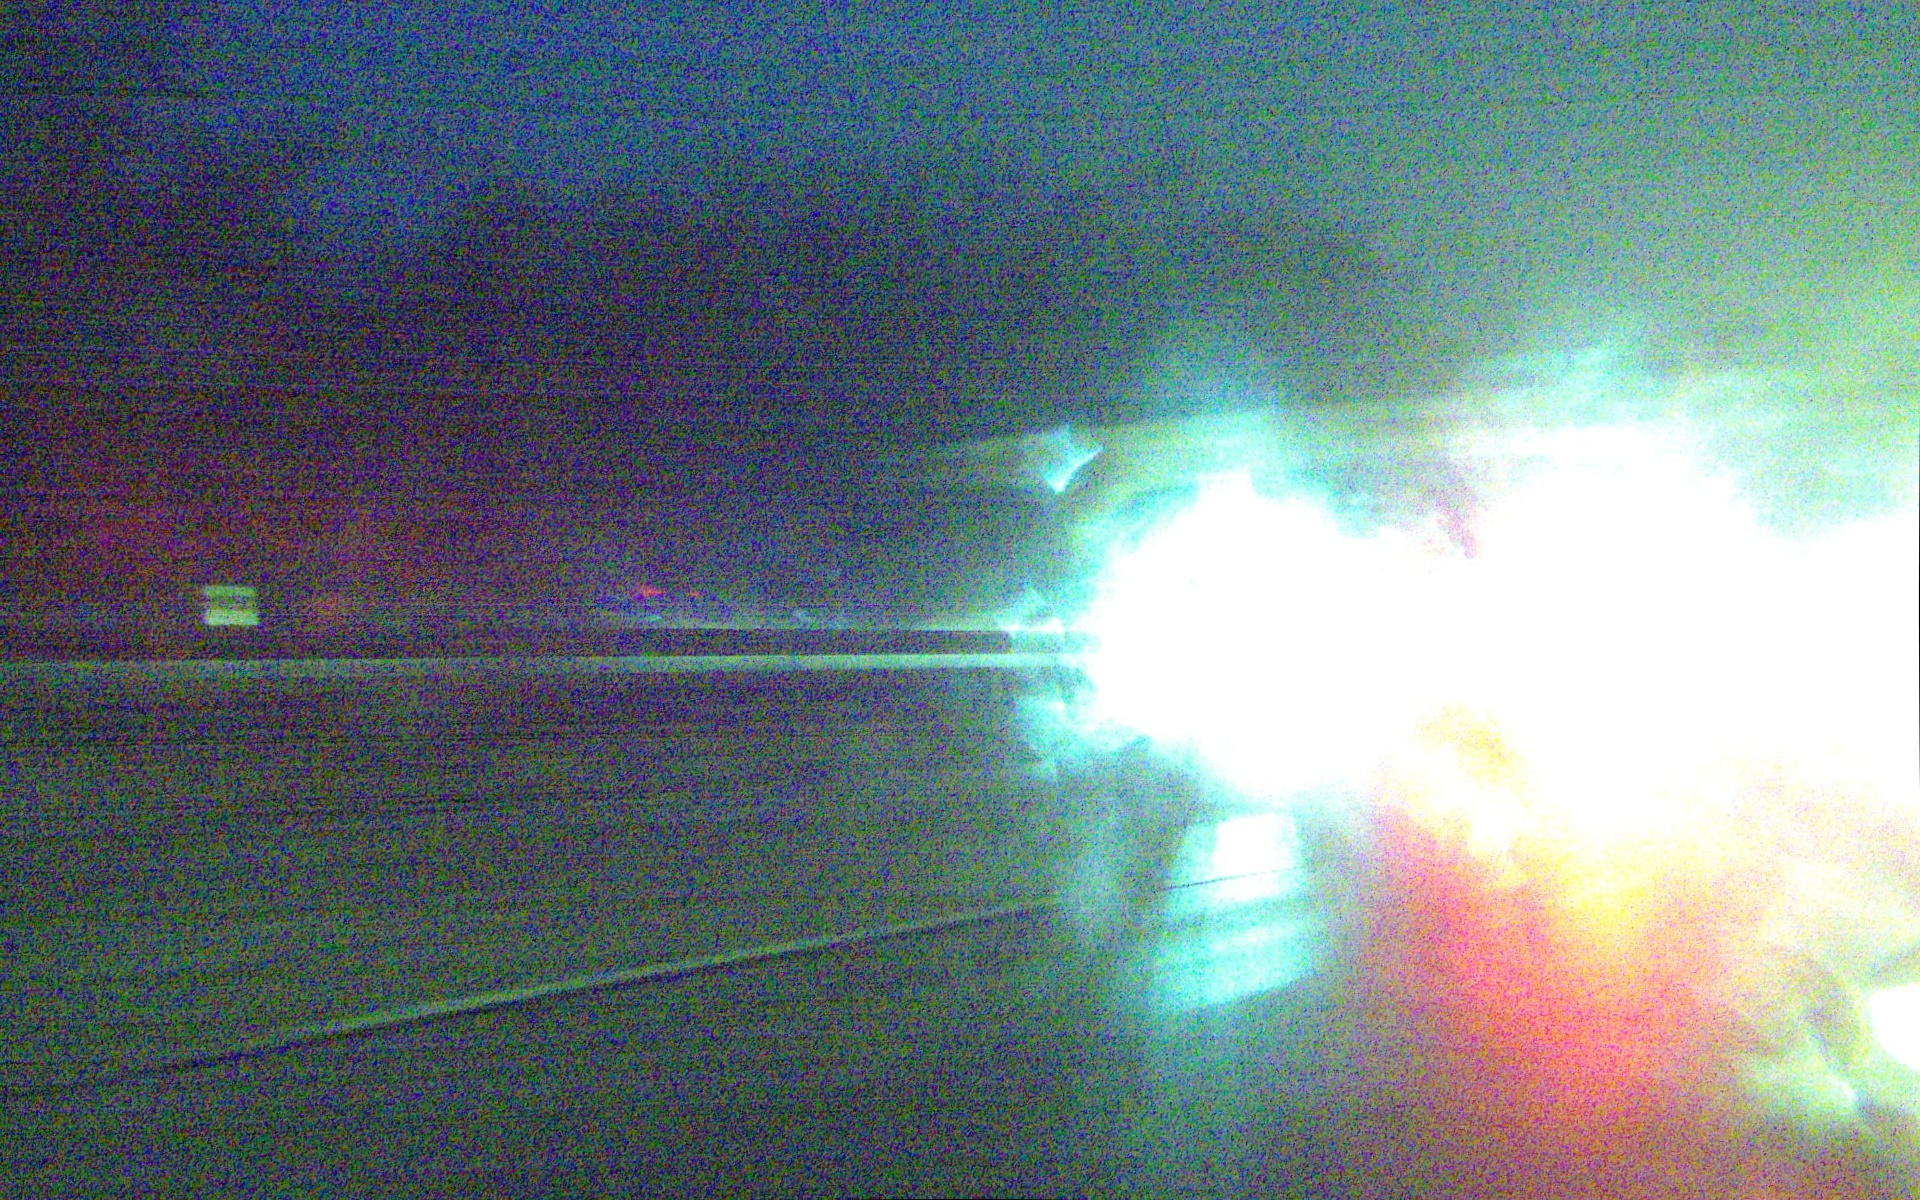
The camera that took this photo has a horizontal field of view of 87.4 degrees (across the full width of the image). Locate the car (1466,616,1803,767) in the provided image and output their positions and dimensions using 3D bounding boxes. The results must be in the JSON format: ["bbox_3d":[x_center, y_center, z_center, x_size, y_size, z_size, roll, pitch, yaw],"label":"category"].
[{"bbox_3d":[8.634,1.045,12.716,4.862,1.537,1.757,2,0,-33],"label":"car"}]

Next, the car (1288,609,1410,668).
[{"bbox_3d":[12.823,1.263,33.057,3.965,1.751,1.978,2,0,-38],"label":"car"}]

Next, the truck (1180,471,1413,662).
[{"bbox_3d":[8.858,-0.727,26.284,5.787,4.463,2.550,2,1,-32],"label":"truck"}]

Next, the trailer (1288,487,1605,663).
[{"bbox_3d":[15.090,-0.467,30.390,12.362,4.516,2.559,2,1,-34],"label":"trailer"}]
